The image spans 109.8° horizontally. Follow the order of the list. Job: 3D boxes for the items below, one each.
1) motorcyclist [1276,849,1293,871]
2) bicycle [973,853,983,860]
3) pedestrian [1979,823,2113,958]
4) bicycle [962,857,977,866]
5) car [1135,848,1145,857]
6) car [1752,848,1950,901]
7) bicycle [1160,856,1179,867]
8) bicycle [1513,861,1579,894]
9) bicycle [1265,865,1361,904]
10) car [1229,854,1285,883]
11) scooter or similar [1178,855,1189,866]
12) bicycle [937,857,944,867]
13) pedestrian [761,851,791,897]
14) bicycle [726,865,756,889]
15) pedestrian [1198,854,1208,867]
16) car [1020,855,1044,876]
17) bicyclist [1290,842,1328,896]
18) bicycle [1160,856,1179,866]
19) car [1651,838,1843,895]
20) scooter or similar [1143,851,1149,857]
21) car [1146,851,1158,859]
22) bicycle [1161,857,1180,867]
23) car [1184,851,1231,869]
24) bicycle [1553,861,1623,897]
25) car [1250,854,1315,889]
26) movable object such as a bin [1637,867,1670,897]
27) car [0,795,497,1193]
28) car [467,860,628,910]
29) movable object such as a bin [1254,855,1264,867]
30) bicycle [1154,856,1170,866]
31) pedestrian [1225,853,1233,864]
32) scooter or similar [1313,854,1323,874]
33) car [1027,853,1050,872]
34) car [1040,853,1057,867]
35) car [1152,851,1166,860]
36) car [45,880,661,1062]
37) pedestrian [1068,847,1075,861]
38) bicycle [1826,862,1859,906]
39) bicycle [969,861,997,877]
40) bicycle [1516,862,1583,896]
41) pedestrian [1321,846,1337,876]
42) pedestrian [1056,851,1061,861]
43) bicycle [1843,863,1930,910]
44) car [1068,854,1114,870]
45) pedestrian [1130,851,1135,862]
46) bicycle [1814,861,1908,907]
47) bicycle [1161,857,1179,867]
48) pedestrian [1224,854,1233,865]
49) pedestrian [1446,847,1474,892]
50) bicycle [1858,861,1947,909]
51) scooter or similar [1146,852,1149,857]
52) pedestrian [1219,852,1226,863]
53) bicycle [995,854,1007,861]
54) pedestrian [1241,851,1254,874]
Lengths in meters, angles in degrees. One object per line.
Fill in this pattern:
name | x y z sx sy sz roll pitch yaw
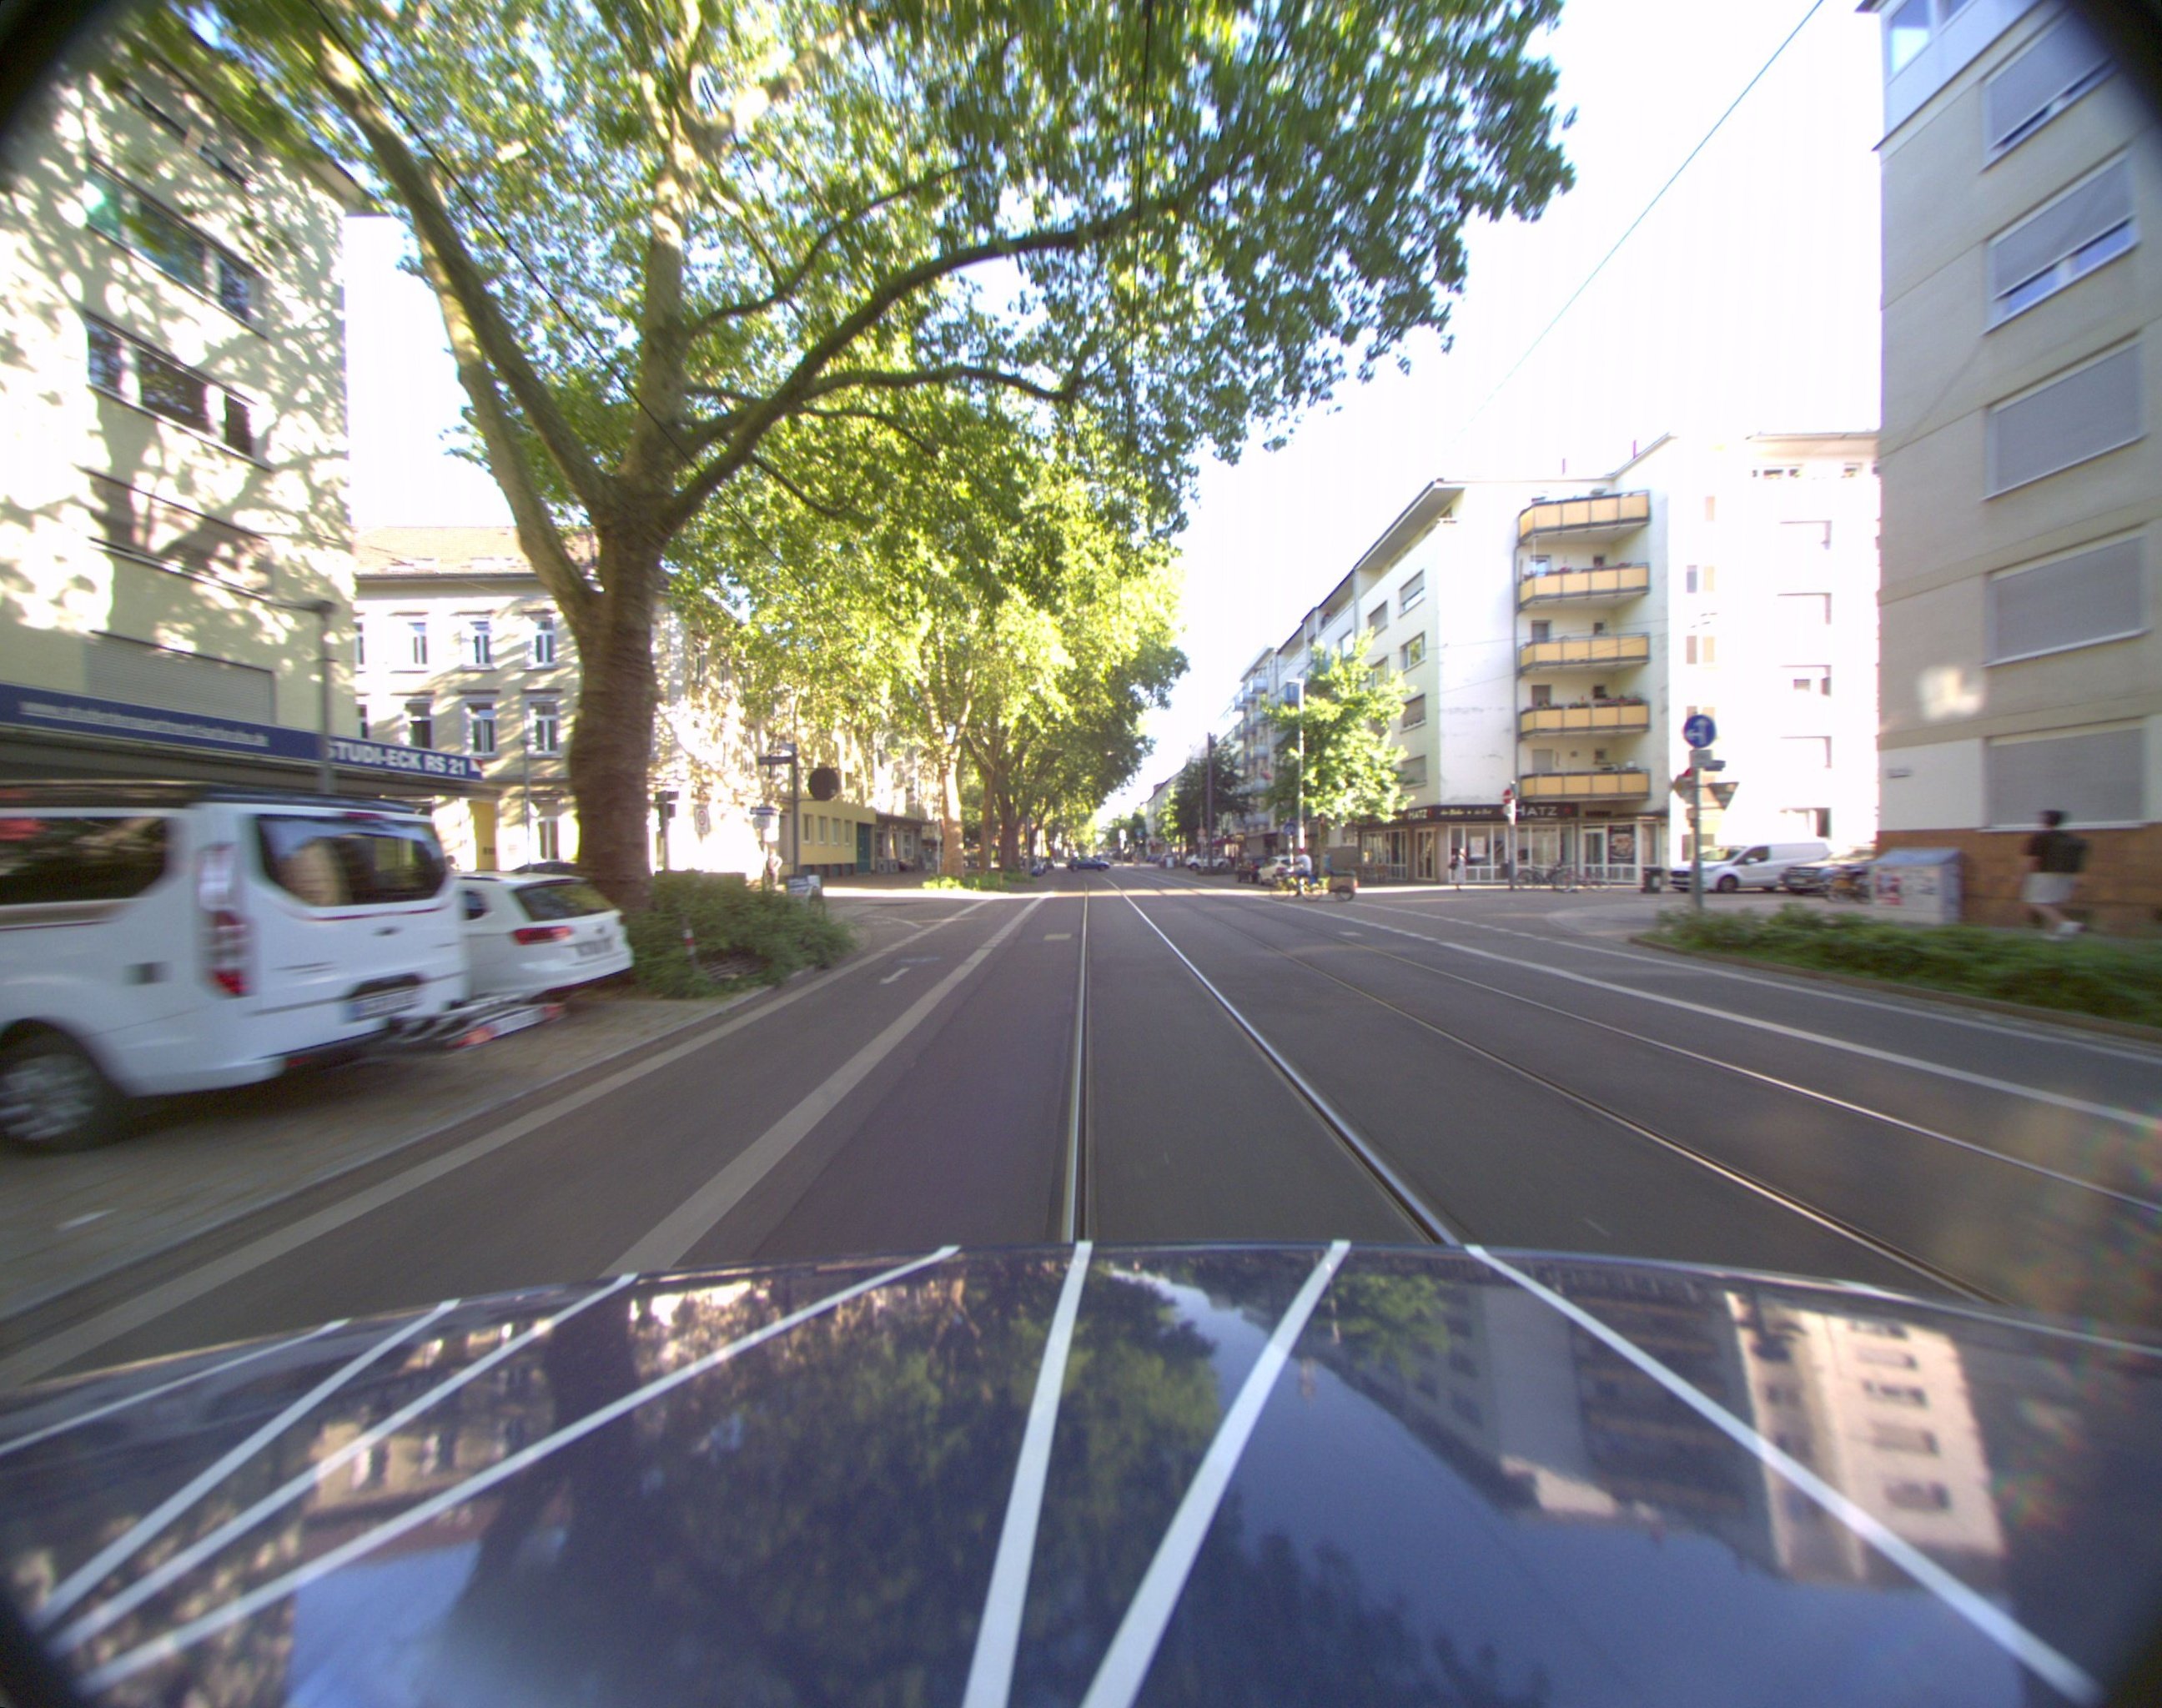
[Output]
motorcyclist | 13.164 0.388 49.231 0.875 1.432 1.016 0 1 2
bicycle | -17.685 0.490 130.268 1.681 1.150 0.572 1 1 6
pedestrian | 13.616 0.494 10.758 0.665 1.815 0.965 -1 1 -1
bicycle | -13.660 0.903 93.075 1.799 1.150 0.744 1 1 -21
car | 13.056 -0.281 167.635 1.808 1.923 4.049 0 0 -1
car | 23.176 0.597 23.003 3.956 1.491 2.029 -1 0 -1
bicycle | 9.246 0.784 79.675 1.834 1.058 0.657 -2 1 -4
bicycle | 16.922 0.844 27.703 1.947 1.150 0.573 1 1 14
bicycle | 7.428 0.957 24.430 2.796 1.150 0.923 -1 1 39
car | 9.635 0.767 41.932 1.718 1.455 3.997 -2 1 -6
scooter or similar | 10.849 0.688 80.638 1.082 1.169 0.498 -2 1 -1
bicycle | -14.903 0.867 80.502 0.572 0.991 1.779 1 1 -4
pedestrian | -12.493 0.800 31.146 0.768 1.856 1.188 0 1 -3
bicycle | -16.261 1.089 36.374 0.584 1.097 1.922 1 1 0
pedestrian | 11.782 0.599 73.458 0.715 1.290 0.746 0 1 -13
car | -3.794 0.863 59.379 1.567 1.510 2.910 1 1 3
bicyclist | 7.354 0.465 24.473 0.872 1.694 0.909 0 1 39
bicycle | 9.311 0.778 79.994 1.834 1.001 0.657 -2 1 -4
car | 22.472 0.408 25.764 4.888 1.812 2.038 -1 0 -4
scooter or similar | 13.641 0.003 159.327 0.447 1.167 1.271 -1 1 -36
car | 12.480 0.201 133.994 1.799 1.455 4.282 0 0 1
bicycle | 9.305 0.793 78.862 1.834 1.001 0.657 -2 1 -4
car | 11.659 0.532 70.062 4.022 1.467 1.852 -2 1 3
bicycle | 17.710 0.859 26.584 1.946 1.150 0.573 1 1 20
car | 9.792 0.813 37.186 1.718 1.455 4.375 -4 1 -3
movable object such as a bin | 19.181 0.946 25.465 0.595 0.967 0.640 -1 1 -10
car | -6.862 0.744 4.907 4.556 2.064 2.000 -1 1 -2
car | -18.564 1.064 26.625 4.143 1.584 1.999 -1 1 -4
movable object such as a bin | 15.232 0.586 65.011 0.674 1.049 0.574 0 1 2
bicycle | 8.801 0.761 82.561 1.696 1.001 0.657 -2 1 -4
pedestrian | 15.718 0.453 80.725 0.514 1.191 0.562 -1 1 -28
scooter or similar | 15.228 0.616 48.892 0.376 1.282 1.237 1 1 8
car | -3.881 0.729 69.515 1.863 1.594 4.780 1 1 -1
car | -3.628 0.685 86.284 1.769 1.454 5.011 -1 0 -1
car | 12.560 0.220 122.764 1.961 1.535 4.388 0 0 1
car | -6.847 1.052 7.548 4.308 1.471 1.830 -1 0 0
pedestrian | -1.180 0.002 92.466 0.759 1.661 0.768 0 1 -5
bicycle | 20.940 0.803 20.889 1.606 1.150 0.582 1 1 -44
bicycle | -6.830 1.053 53.100 1.964 1.000 0.512 3 1 26
bicycle | 16.823 0.883 27.300 1.947 1.150 0.573 1 1 14
pedestrian | 13.855 0.374 42.431 0.665 1.681 0.748 -1 1 -1
pedestrian | -3.678 0.334 123.306 0.769 1.650 0.916 0 1 -7
bicycle | 20.543 0.817 19.392 1.754 1.150 0.584 1 1 -8
car | 0.932 0.724 74.153 4.225 1.429 1.869 -1 1 -7
pedestrian | 7.341 0.386 108.958 0.655 1.576 0.772 -1 1 1
bicycle | 20.549 0.787 20.034 1.752 1.150 0.584 1 1 5
bicycle | 9.071 0.816 77.512 1.696 1.001 0.657 -2 1 -4
pedestrian | 15.814 0.557 81.592 0.603 1.191 0.690 -1 1 -34
pedestrian | 14.289 0.583 28.673 0.665 1.681 0.748 -1 1 -1
bicycle | 20.559 0.775 19.032 1.754 1.150 0.584 1 1 -8
scooter or similar | 13.766 0.087 158.009 0.446 1.167 1.274 0 0 -5
pedestrian | 15.775 0.357 84.658 0.513 1.191 0.563 0 1 -16
bicycle | -13.581 0.582 129.375 2.036 1.150 0.572 1 1 1
pedestrian | 12.351 0.657 56.289 0.765 1.681 0.794 -1 1 -1
